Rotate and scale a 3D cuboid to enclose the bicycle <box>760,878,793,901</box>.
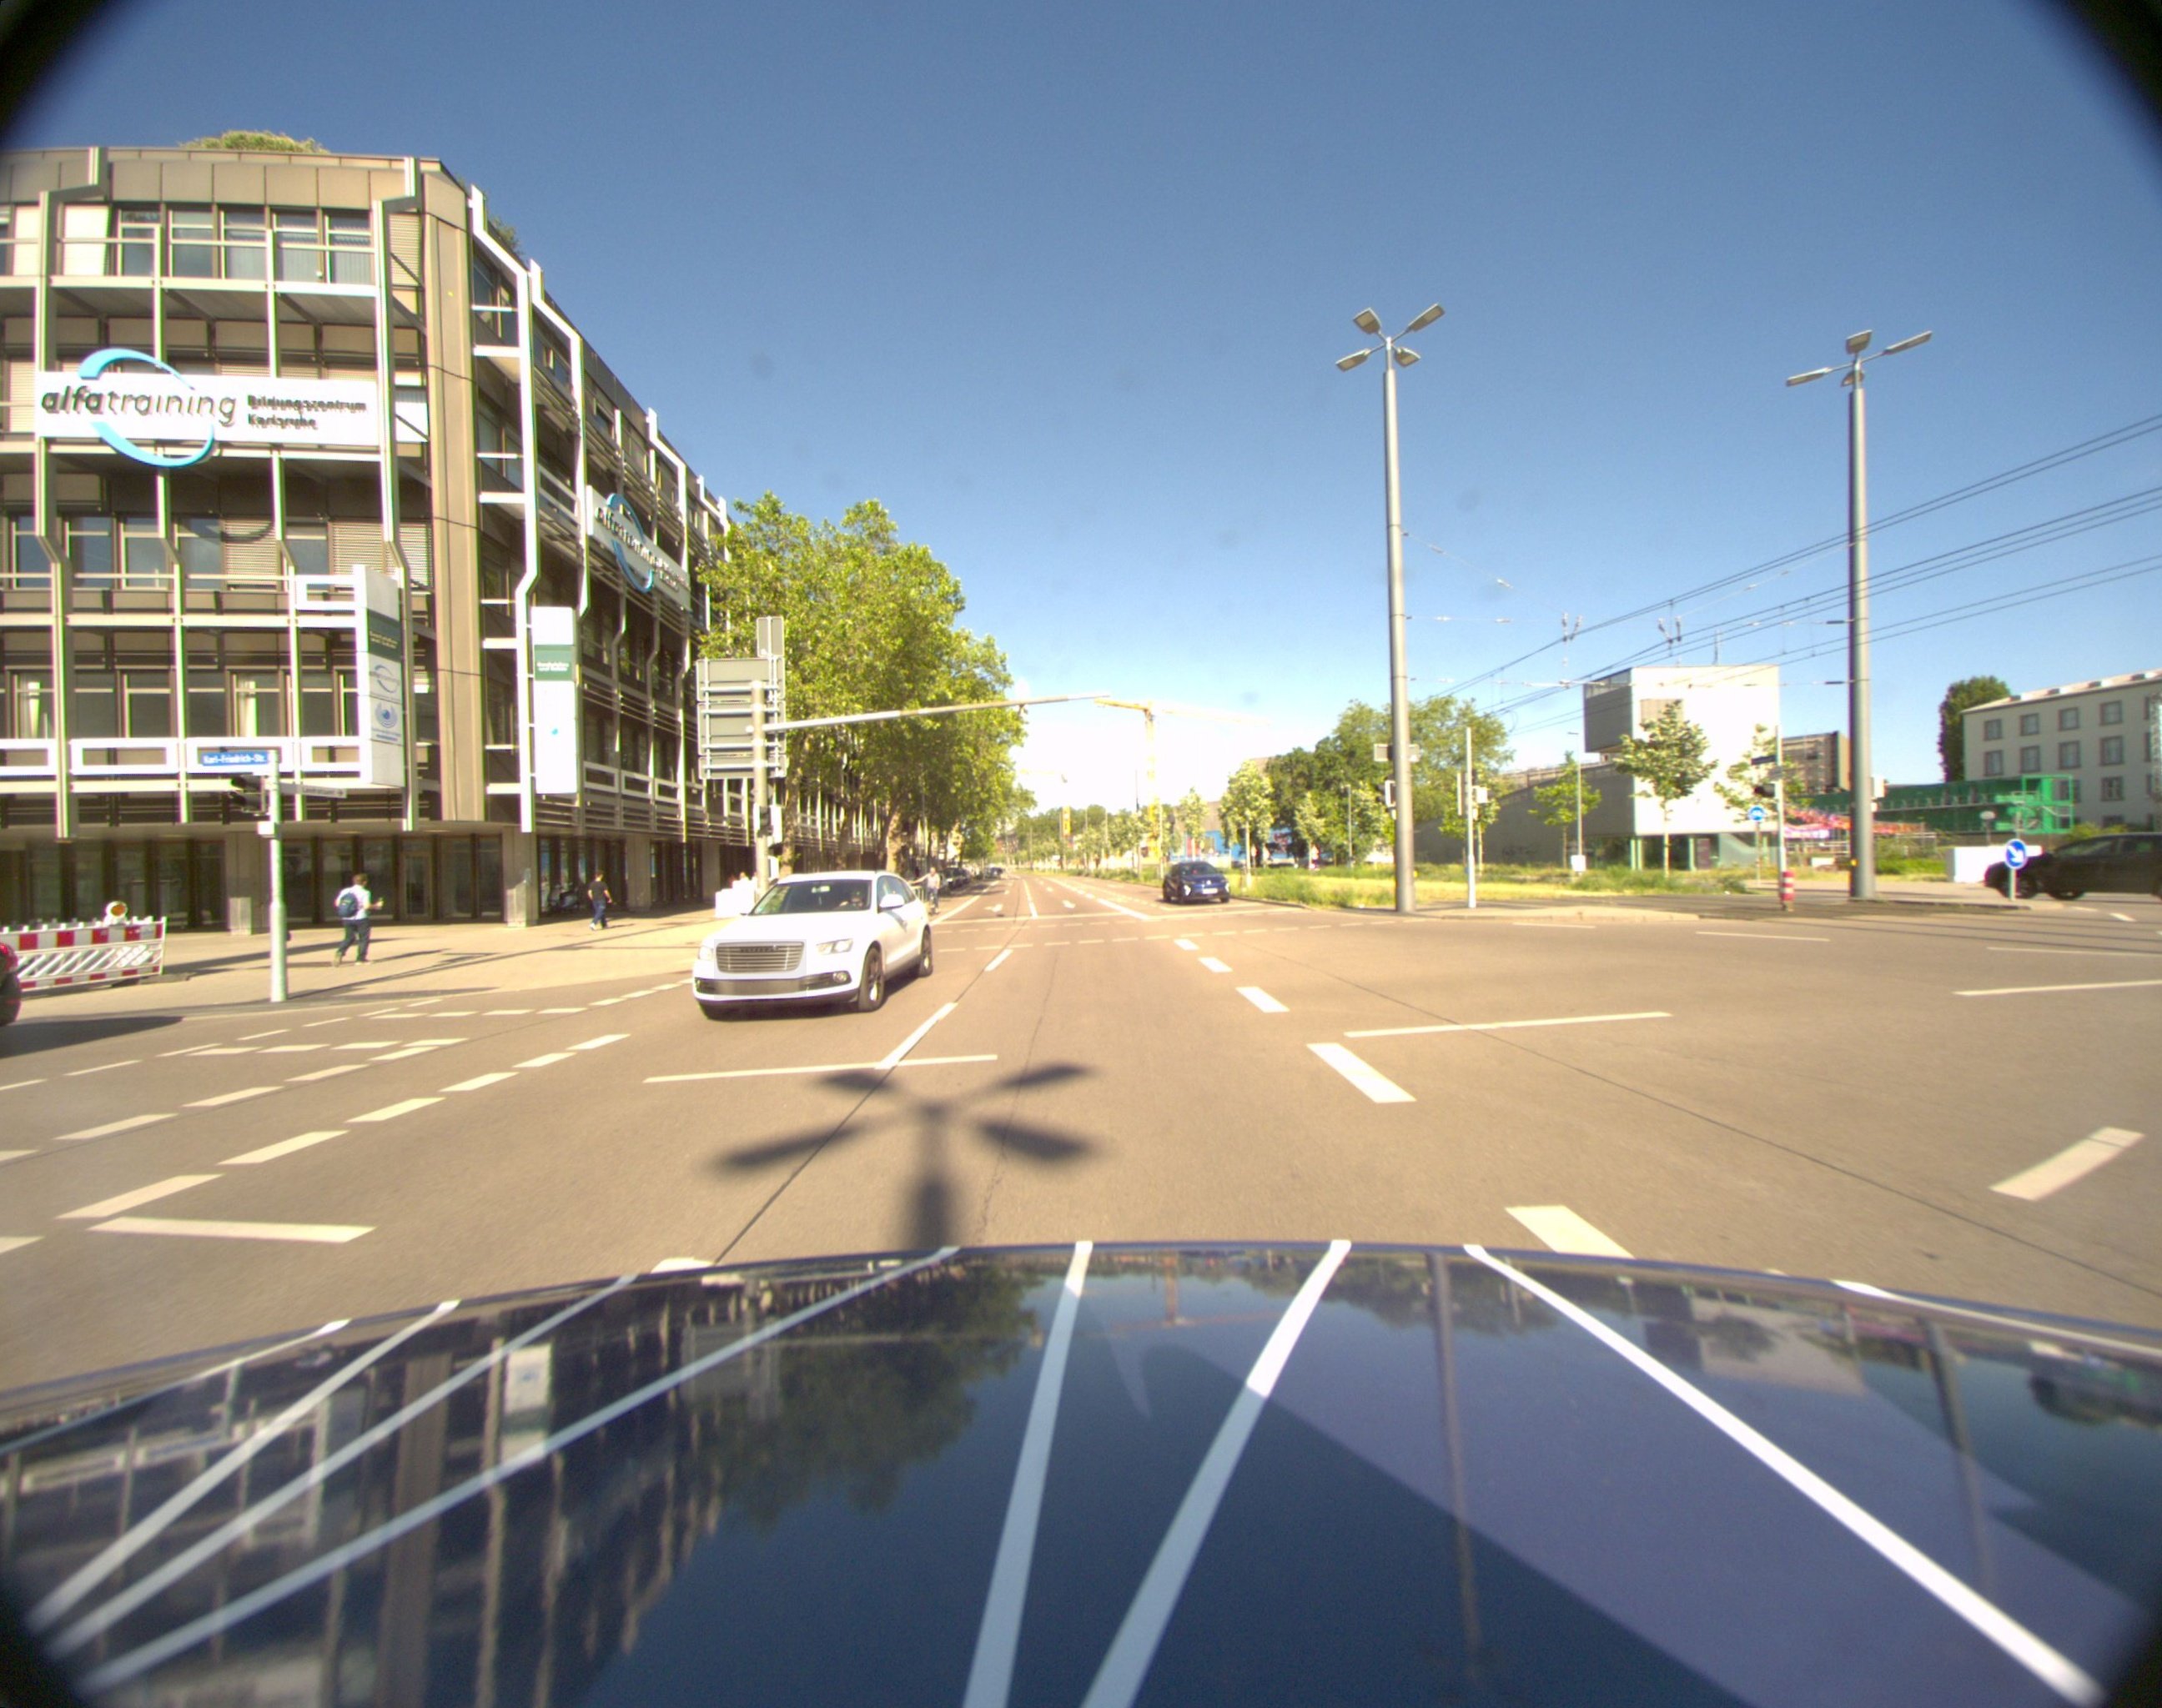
[{"bbox_3d":[-14.718,1.707,36.724,0.883,0.979,2.050,-2,0,-5],"label":"bicycle"}]

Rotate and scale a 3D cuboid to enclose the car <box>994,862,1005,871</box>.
[{"bbox_3d":[-15.310,2.358,142.534,2.000,1.597,3.894,-2,0,-6],"label":"car"}]

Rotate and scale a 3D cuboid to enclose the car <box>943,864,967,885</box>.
[{"bbox_3d":[-11.287,1.796,68.205,1.753,1.810,4.335,0,0,-5],"label":"car"}]

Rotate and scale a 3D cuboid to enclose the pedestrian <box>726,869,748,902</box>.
[{"bbox_3d":[-17.035,1.551,37.637,0.668,1.591,1.009,1,0,-4],"label":"pedestrian"}]

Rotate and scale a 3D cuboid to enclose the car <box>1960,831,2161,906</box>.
[{"bbox_3d":[25.176,0.321,18.473,2.001,1.697,4.555,-2,0,-13],"label":"car"}]

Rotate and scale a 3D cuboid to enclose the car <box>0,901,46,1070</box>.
[{"bbox_3d":[-12.970,1.401,6.741,4.413,1.689,1.789,-2,0,-10],"label":"car"}]

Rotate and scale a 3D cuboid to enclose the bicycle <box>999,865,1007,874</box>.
[{"bbox_3d":[-10.336,2.067,100.554,0.845,1.123,2.552,-2,0,-4],"label":"bicycle"}]

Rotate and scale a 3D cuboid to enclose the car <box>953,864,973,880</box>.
[{"bbox_3d":[-12.284,1.861,79.565,1.753,1.545,4.335,0,-1,-5],"label":"car"}]

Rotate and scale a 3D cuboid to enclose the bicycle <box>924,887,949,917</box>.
[{"bbox_3d":[-5.509,1.819,29.044,0.711,0.987,1.923,-4,0,-6],"label":"bicycle"}]

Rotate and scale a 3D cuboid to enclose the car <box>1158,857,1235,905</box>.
[{"bbox_3d":[4.269,0.949,28.683,1.775,1.579,4.086,-3,0,-7],"label":"car"}]

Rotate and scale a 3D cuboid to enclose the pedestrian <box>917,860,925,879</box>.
[{"bbox_3d":[-17.102,1.695,81.168,0.742,2.002,0.625,-2,0,-8],"label":"pedestrian"}]

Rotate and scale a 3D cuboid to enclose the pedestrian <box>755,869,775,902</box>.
[{"bbox_3d":[-15.617,1.534,37.561,0.668,1.591,0.727,1,0,-4],"label":"pedestrian"}]

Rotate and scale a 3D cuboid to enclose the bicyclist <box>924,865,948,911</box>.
[{"bbox_3d":[-5.534,1.282,29.045,0.711,1.677,0.852,-4,0,-6],"label":"bicyclist"}]

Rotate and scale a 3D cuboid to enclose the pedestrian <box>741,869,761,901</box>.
[{"bbox_3d":[-16.365,1.531,37.656,0.668,1.591,0.728,1,0,-2],"label":"pedestrian"}]

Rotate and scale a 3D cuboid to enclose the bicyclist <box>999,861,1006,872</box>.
[{"bbox_3d":[-10.341,1.659,100.557,0.830,1.380,0.903,-2,0,-4],"label":"bicyclist"}]

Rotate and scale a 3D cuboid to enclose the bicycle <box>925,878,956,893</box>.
[{"bbox_3d":[-8.794,1.978,47.631,1.849,0.954,0.711,0,0,-9],"label":"bicycle"}]

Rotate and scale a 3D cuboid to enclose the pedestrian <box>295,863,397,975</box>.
[{"bbox_3d":[-13.925,1.192,14.442,0.950,2.002,1.078,-2,0,-16],"label":"pedestrian"}]

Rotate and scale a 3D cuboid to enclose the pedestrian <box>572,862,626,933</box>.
[{"bbox_3d":[-14.097,1.251,22.262,0.950,2.002,1.078,-2,0,-12],"label":"pedestrian"}]

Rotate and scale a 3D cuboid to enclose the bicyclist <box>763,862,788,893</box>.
[{"bbox_3d":[-14.730,1.134,36.659,0.883,1.468,0.883,-2,0,-5],"label":"bicyclist"}]

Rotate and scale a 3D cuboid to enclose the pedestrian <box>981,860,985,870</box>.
[{"bbox_3d":[-16.924,1.890,131.686,0.591,1.829,0.569,-2,0,-5],"label":"pedestrian"}]

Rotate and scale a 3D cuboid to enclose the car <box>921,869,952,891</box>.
[{"bbox_3d":[-10.538,1.847,55.780,1.753,1.481,4.558,0,-1,-5],"label":"car"}]

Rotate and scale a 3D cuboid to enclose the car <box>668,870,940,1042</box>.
[{"bbox_3d":[-3.200,1.077,9.869,1.824,1.604,4.413,-2,0,1],"label":"car"}]

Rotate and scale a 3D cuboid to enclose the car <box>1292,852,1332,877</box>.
[{"bbox_3d":[19.257,0.865,63.540,1.876,1.944,3.999,-2,0,-5],"label":"car"}]

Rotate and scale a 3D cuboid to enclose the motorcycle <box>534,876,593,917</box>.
[{"bbox_3d":[-19.366,1.557,28.487,0.825,1.433,2.121,-2,0,-4],"label":"motorcycle"}]
